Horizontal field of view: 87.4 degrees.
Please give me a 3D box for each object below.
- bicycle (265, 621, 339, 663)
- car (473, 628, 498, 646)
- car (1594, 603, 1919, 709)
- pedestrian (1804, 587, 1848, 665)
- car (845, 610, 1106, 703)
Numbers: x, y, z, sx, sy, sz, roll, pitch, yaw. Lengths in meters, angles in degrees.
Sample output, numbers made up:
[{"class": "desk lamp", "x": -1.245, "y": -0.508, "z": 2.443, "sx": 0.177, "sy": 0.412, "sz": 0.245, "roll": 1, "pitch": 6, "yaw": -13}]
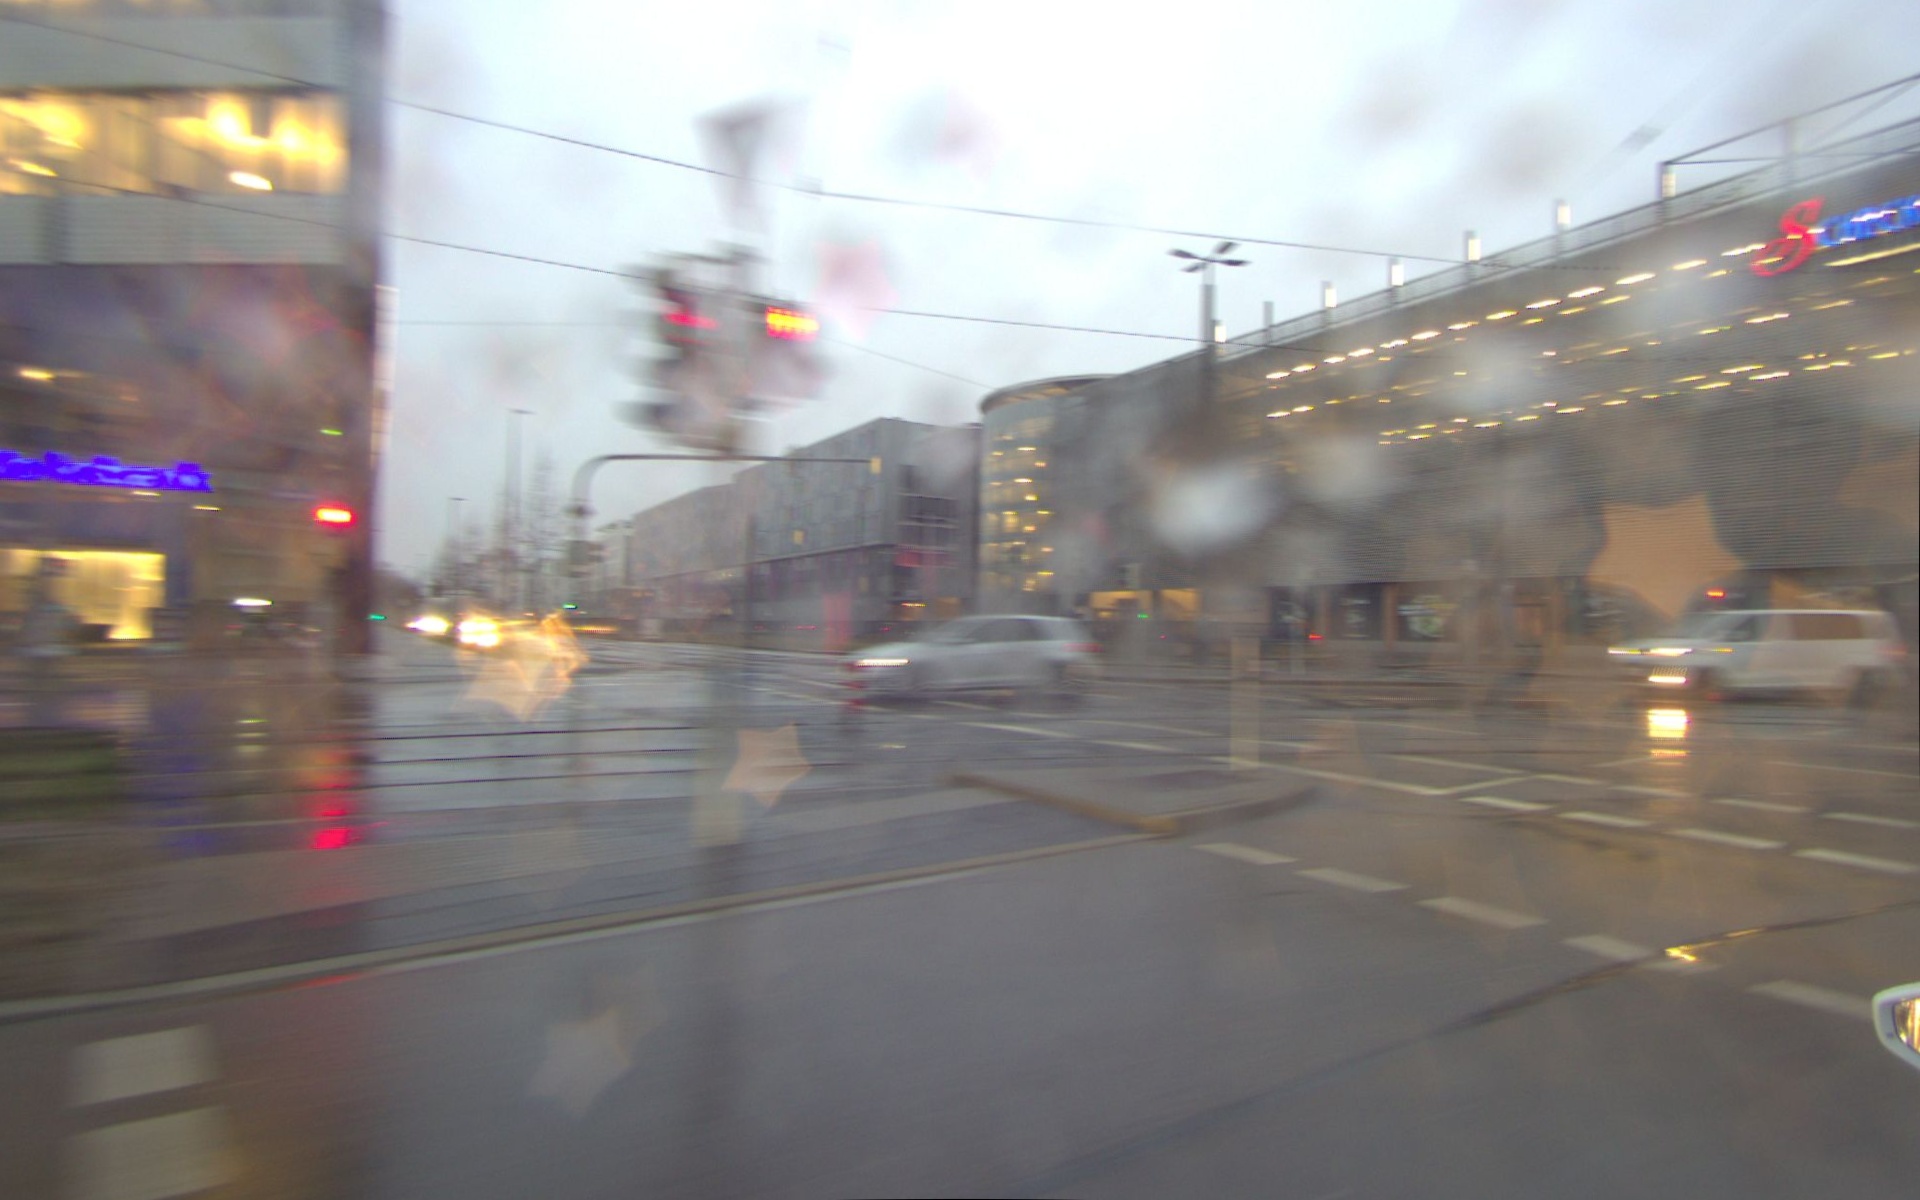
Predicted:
[{"class": "bicycle", "x": -17.314, "y": 1.086, "z": 26.473, "sx": 1.582, "sy": 1.084, "sz": 0.637, "roll": 1, "pitch": -1, "yaw": -31}, {"class": "car", "x": -44.865, "y": 3.472, "z": 94.954, "sx": 1.813, "sy": 1.684, "sz": 3.968, "roll": 1, "pitch": -2, "yaw": -30}, {"class": "car", "x": 16.888, "y": 1.160, "z": 21.364, "sx": 5.548, "sy": 2.086, "sz": 1.954, "roll": 1, "pitch": -1, "yaw": 2}, {"class": "pedestrian", "x": 33.494, "y": 1.003, "z": 38.852, "sx": 1.101, "sy": 2.964, "sz": 0.958, "roll": 2, "pitch": 0, "yaw": -30}, {"class": "car", "x": 0.236, "y": 0.977, "z": 17.787, "sx": 4.271, "sy": 1.505, "sz": 1.860, "roll": 1, "pitch": -2, "yaw": -17}]
